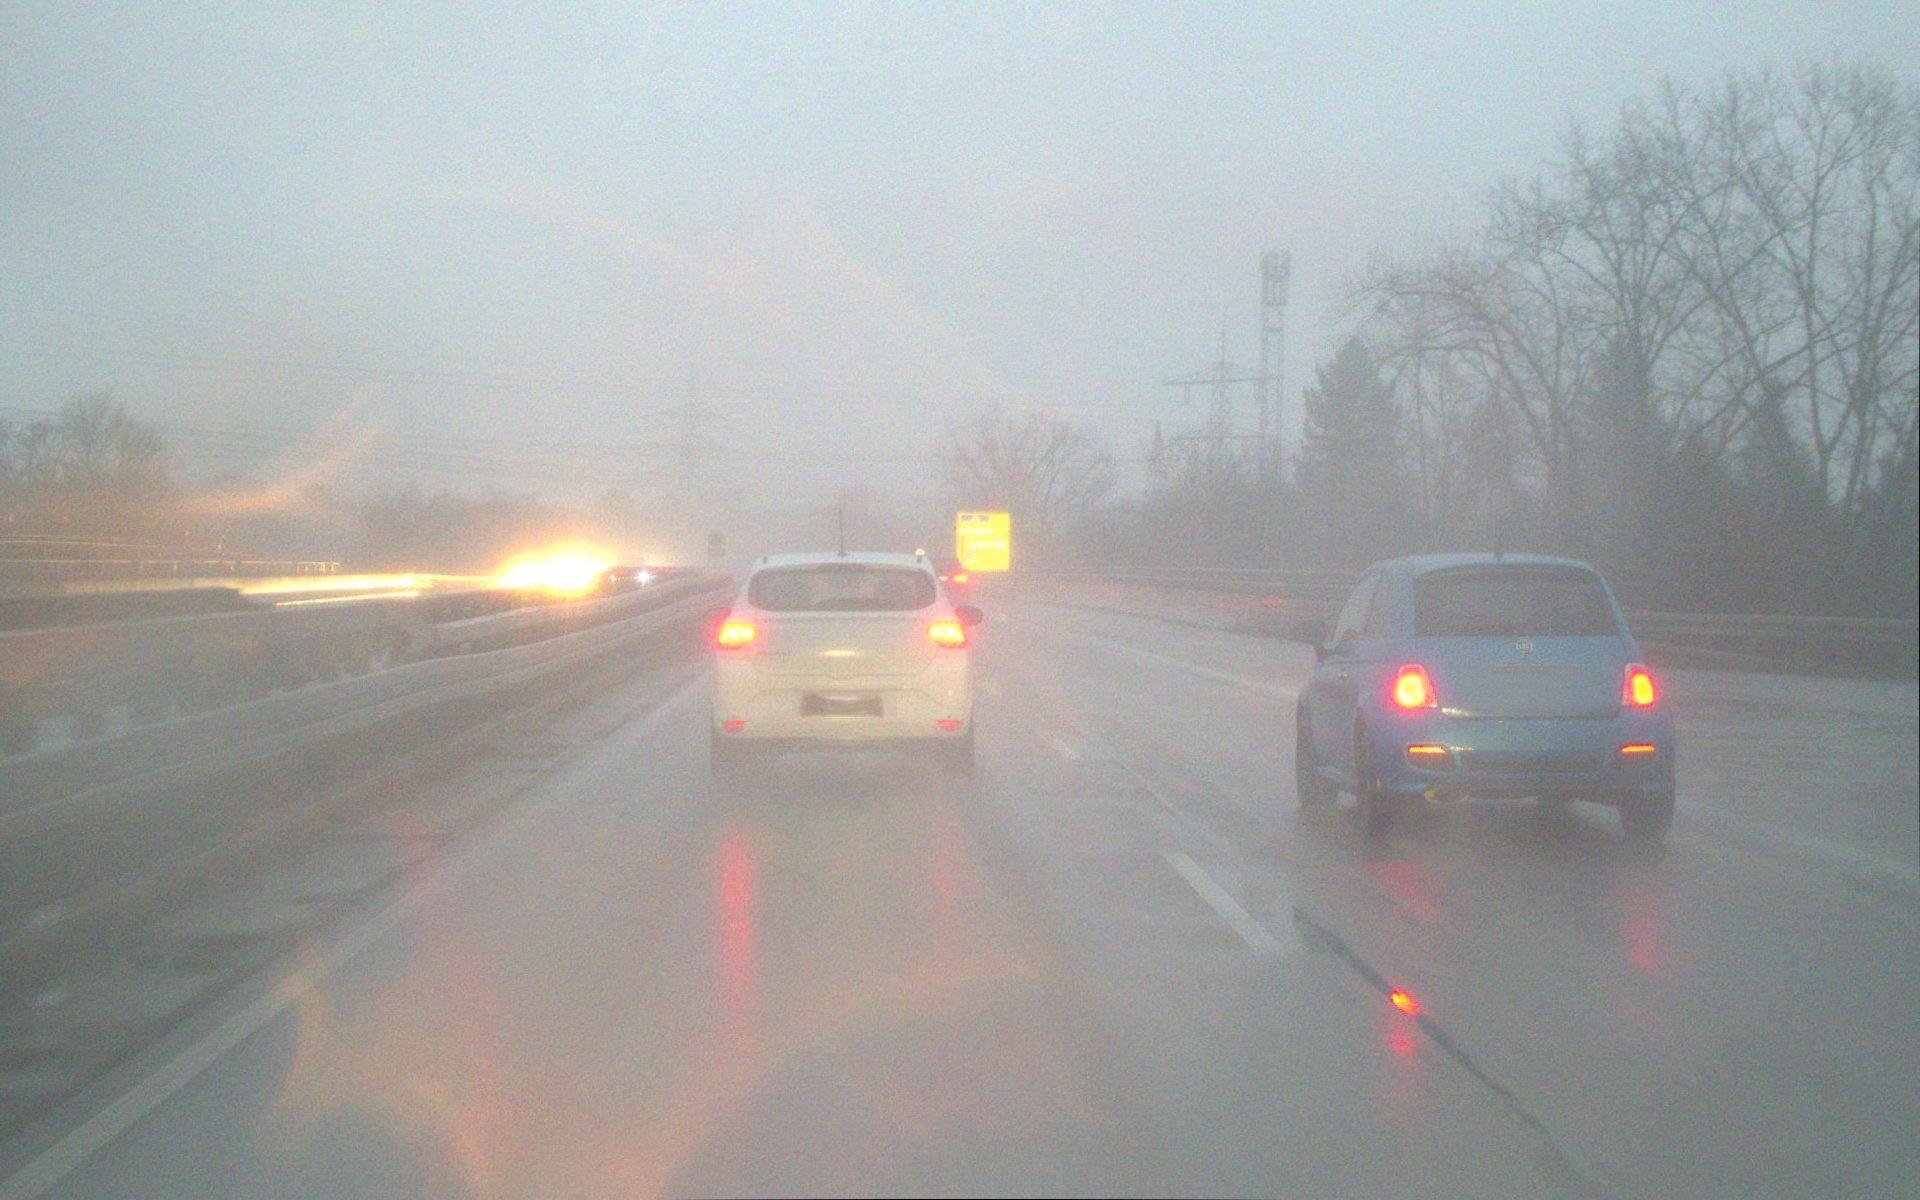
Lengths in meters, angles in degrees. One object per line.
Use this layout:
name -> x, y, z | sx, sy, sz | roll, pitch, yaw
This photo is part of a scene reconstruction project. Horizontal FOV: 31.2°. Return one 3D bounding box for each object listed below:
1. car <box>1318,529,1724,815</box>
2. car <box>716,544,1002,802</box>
car -> 3.121, 0.330, 19.884 | 1.846, 1.448, 4.148 | 0, 1, 3
car -> -0.665, 0.443, 24.140 | 1.845, 1.630, 3.768 | 0, 1, 0
